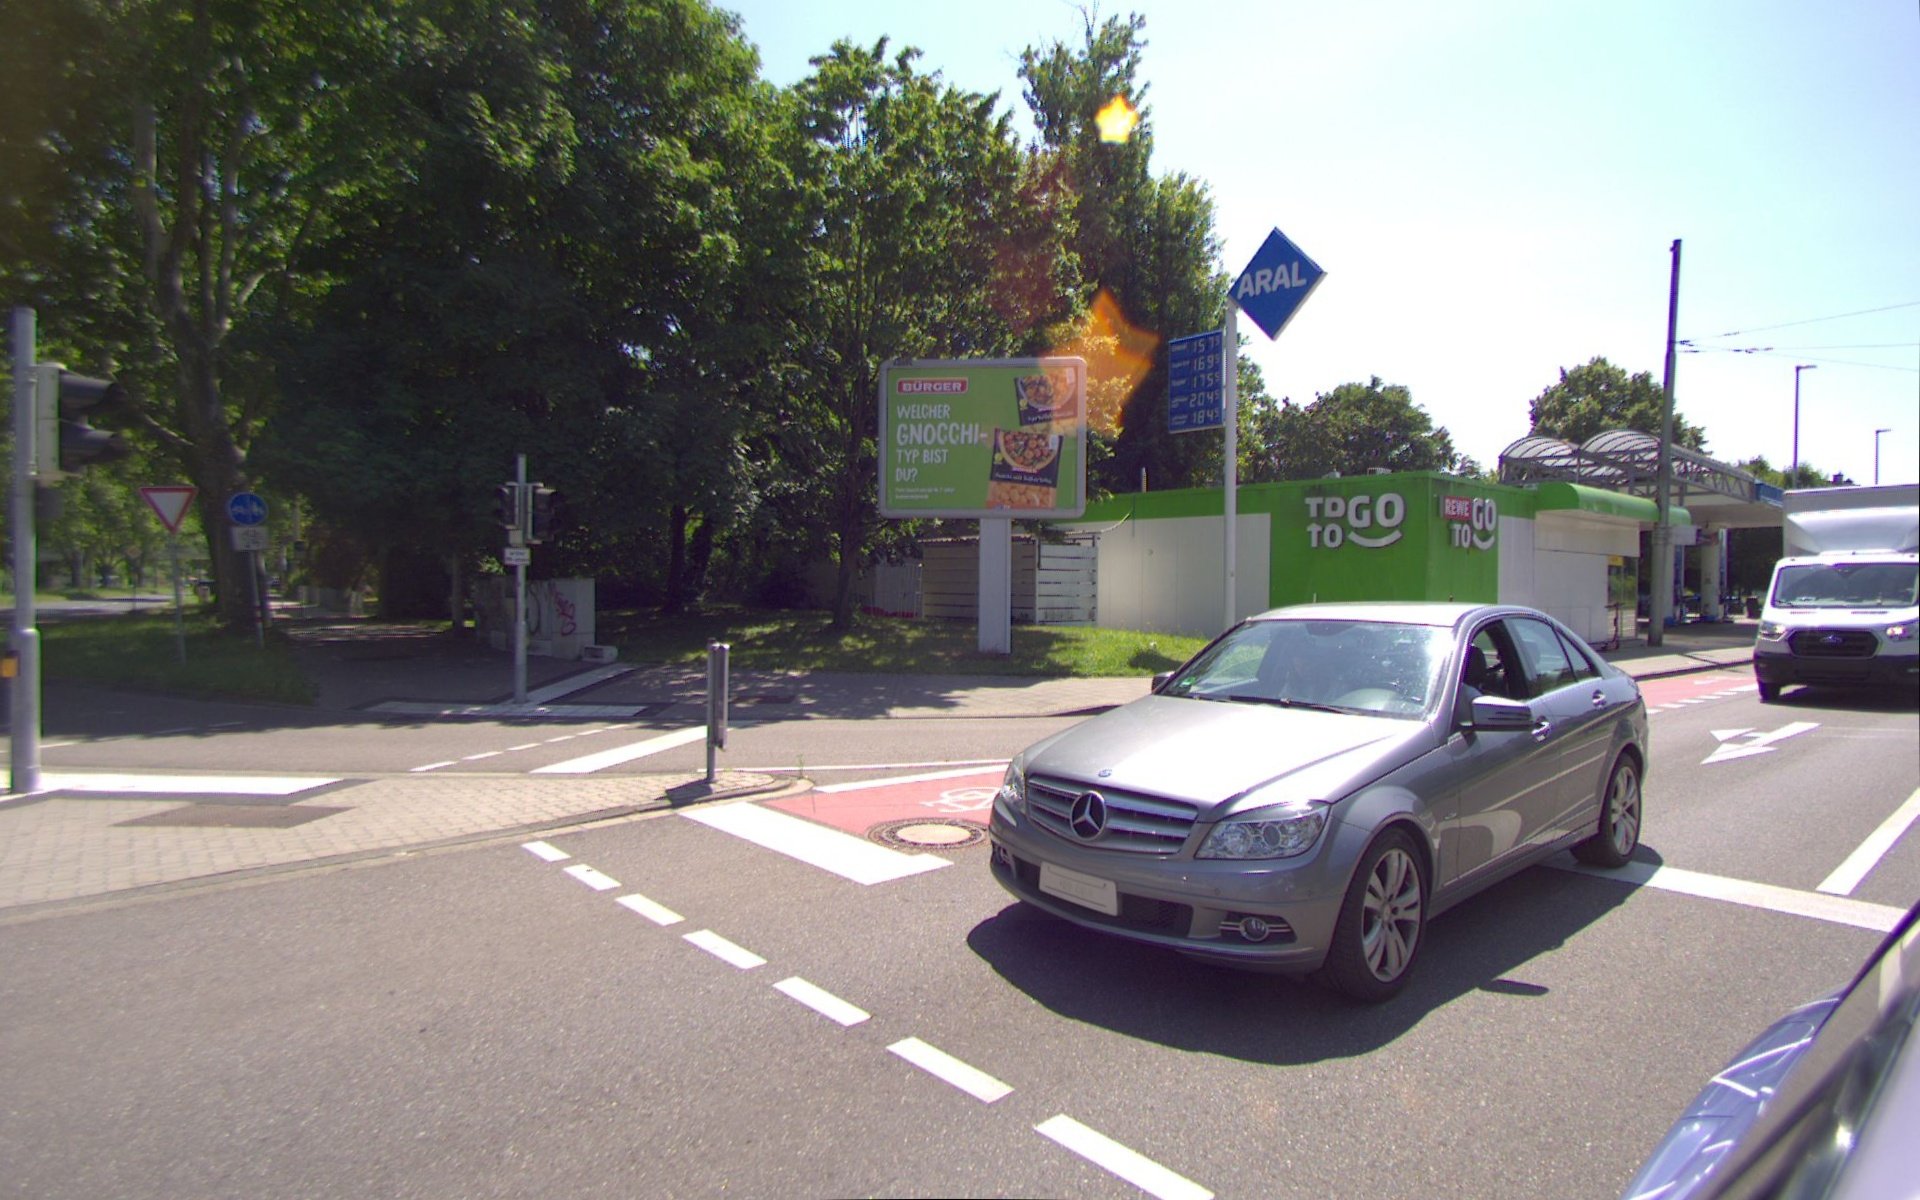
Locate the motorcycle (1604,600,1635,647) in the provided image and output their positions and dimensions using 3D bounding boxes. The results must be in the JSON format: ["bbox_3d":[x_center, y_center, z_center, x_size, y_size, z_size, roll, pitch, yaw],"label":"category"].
[{"bbox_3d":[16.294,0.576,25.005,1.098,1.118,0.253,-1,7,-41],"label":"motorcycle"}]

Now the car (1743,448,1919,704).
[{"bbox_3d":[15.361,-0.315,16.718,8.485,3.378,2.227,0,-1,-41],"label":"car"}]

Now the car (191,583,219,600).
[{"bbox_3d":[-71.061,-0.783,95.301,1.674,1.464,3.388,-1,0,-29],"label":"car"}]

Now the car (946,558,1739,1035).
[{"bbox_3d":[2.477,0.633,5.522,5.207,1.492,1.716,0,-1,-40],"label":"car"}]
